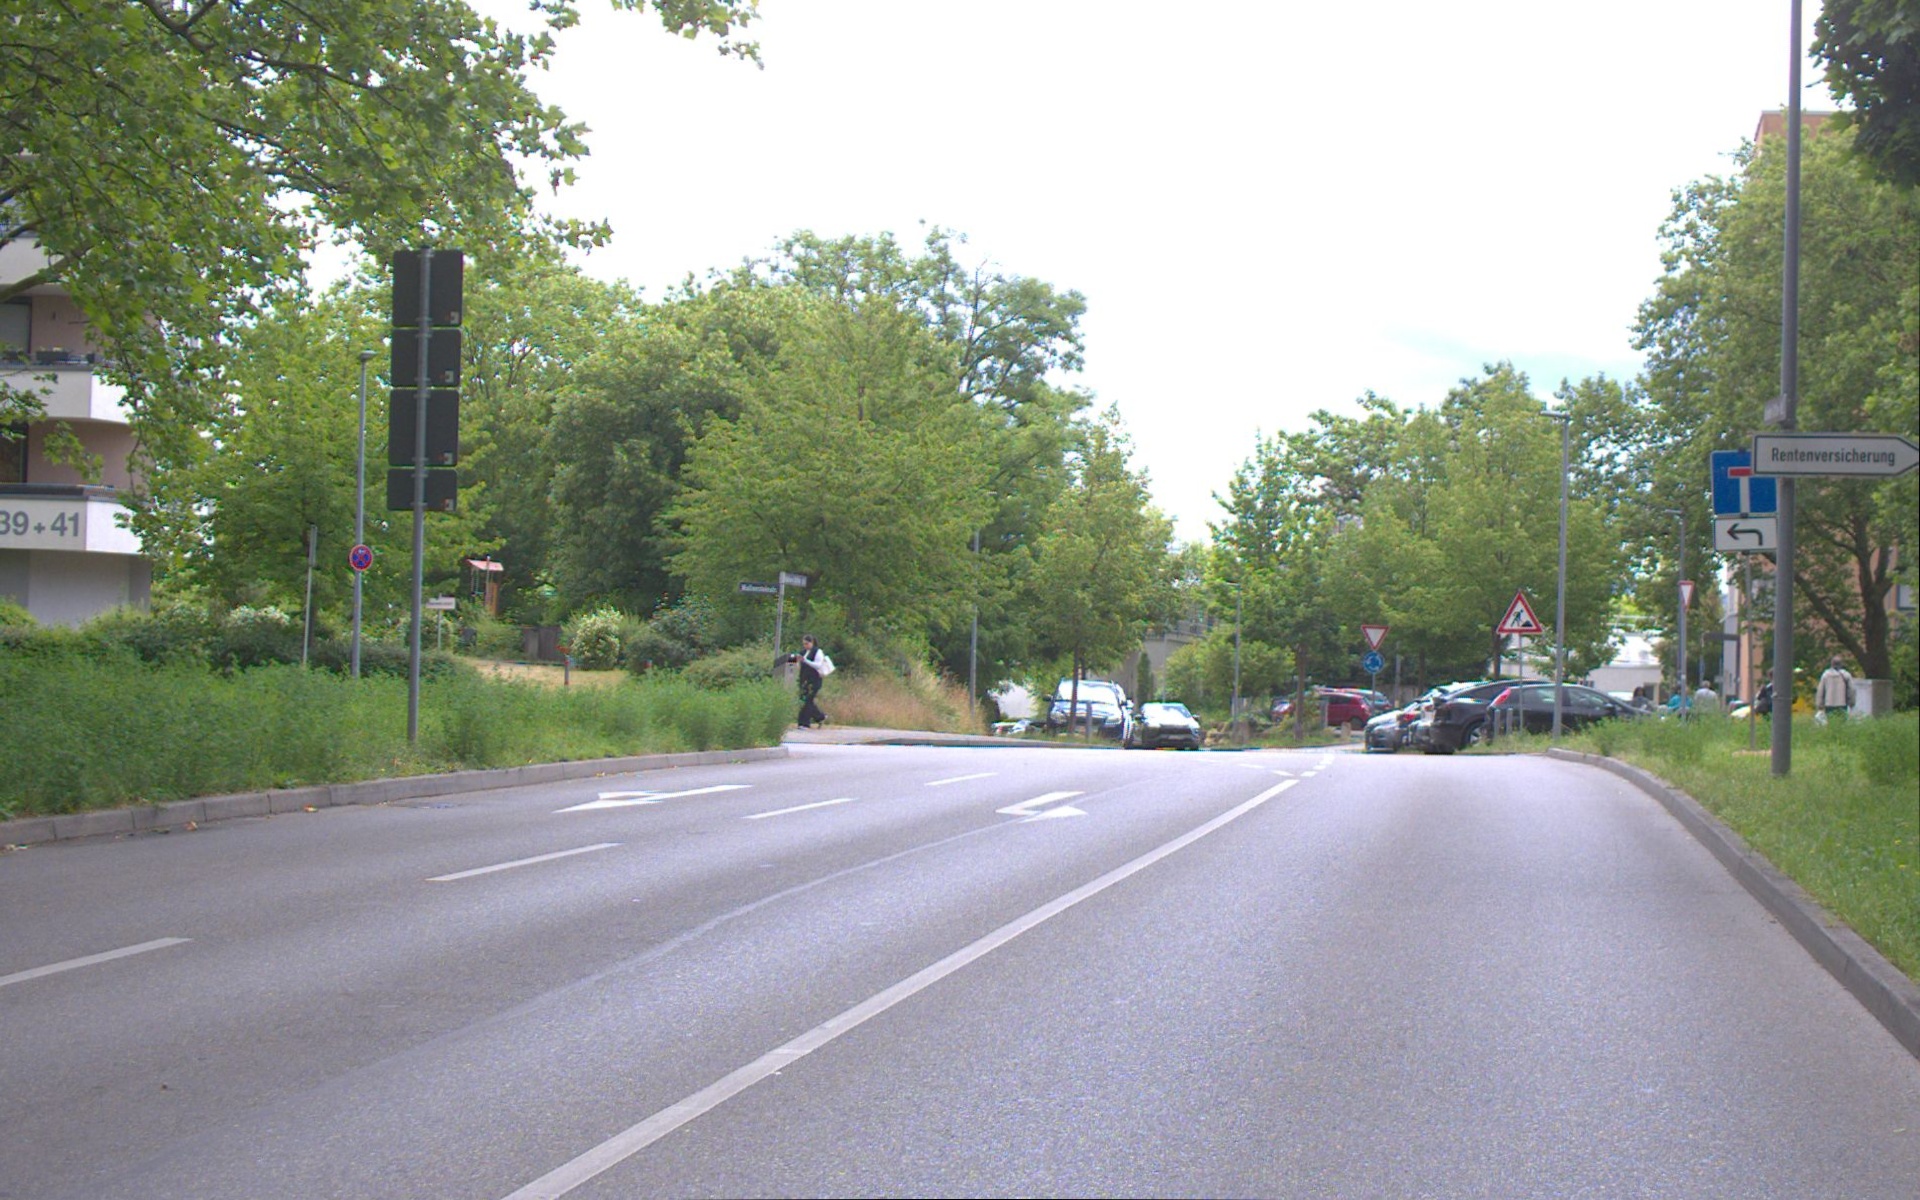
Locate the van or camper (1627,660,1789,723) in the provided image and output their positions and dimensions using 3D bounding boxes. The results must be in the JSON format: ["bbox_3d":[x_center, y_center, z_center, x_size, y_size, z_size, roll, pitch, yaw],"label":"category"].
[{"bbox_3d":[26.121,3.184,120.163,5.293,2.035,2.060,1,0,5],"label":"van or camper"}]

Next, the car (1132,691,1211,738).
[{"bbox_3d":[6.907,3.748,112.764,1.974,1.459,3.935,1,-2,-5],"label":"car"}]

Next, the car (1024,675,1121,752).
[{"bbox_3d":[2.402,2.381,72.536,1.766,1.495,3.934,1,0,6],"label":"car"}]

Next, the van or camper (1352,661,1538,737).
[{"bbox_3d":[12.823,2.613,91.034,4.672,1.863,1.771,1,0,2],"label":"van or camper"}]

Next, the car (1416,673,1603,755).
[{"bbox_3d":[11.879,2.471,74.315,3.923,1.625,1.770,1,-4,9],"label":"car"}]

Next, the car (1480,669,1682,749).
[{"bbox_3d":[12.470,2.197,69.198,3.923,1.463,1.770,1,-4,9],"label":"car"}]

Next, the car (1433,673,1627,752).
[{"bbox_3d":[11.853,2.352,71.560,3.923,1.495,1.770,1,-4,9],"label":"car"}]

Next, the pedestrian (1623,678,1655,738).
[{"bbox_3d":[16.264,2.587,82.339,0.690,1.420,0.753,2,-1,9],"label":"pedestrian"}]

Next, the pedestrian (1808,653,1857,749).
[{"bbox_3d":[16.099,1.854,63.462,0.801,1.717,0.823,2,1,12],"label":"pedestrian"}]

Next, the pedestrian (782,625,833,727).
[{"bbox_3d":[-2.628,1.302,59.290,0.820,1.717,0.777,1,0,-4],"label":"pedestrian"}]

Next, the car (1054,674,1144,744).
[{"bbox_3d":[3.152,2.449,77.546,1.766,1.495,3.933,1,-1,6],"label":"car"}]

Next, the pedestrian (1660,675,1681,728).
[{"bbox_3d":[15.629,2.231,75.638,0.396,1.148,0.485,2,0,10],"label":"pedestrian"}]

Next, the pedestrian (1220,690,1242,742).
[{"bbox_3d":[10.044,4.301,127.478,0.721,1.858,0.651,1,0,-2],"label":"pedestrian"}]

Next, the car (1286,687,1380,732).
[{"bbox_3d":[14.923,4.382,137.570,3.540,1.648,1.621,2,-1,2],"label":"car"}]

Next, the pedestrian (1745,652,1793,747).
[{"bbox_3d":[15.052,1.839,63.988,0.775,1.717,0.822,2,1,17],"label":"pedestrian"}]
